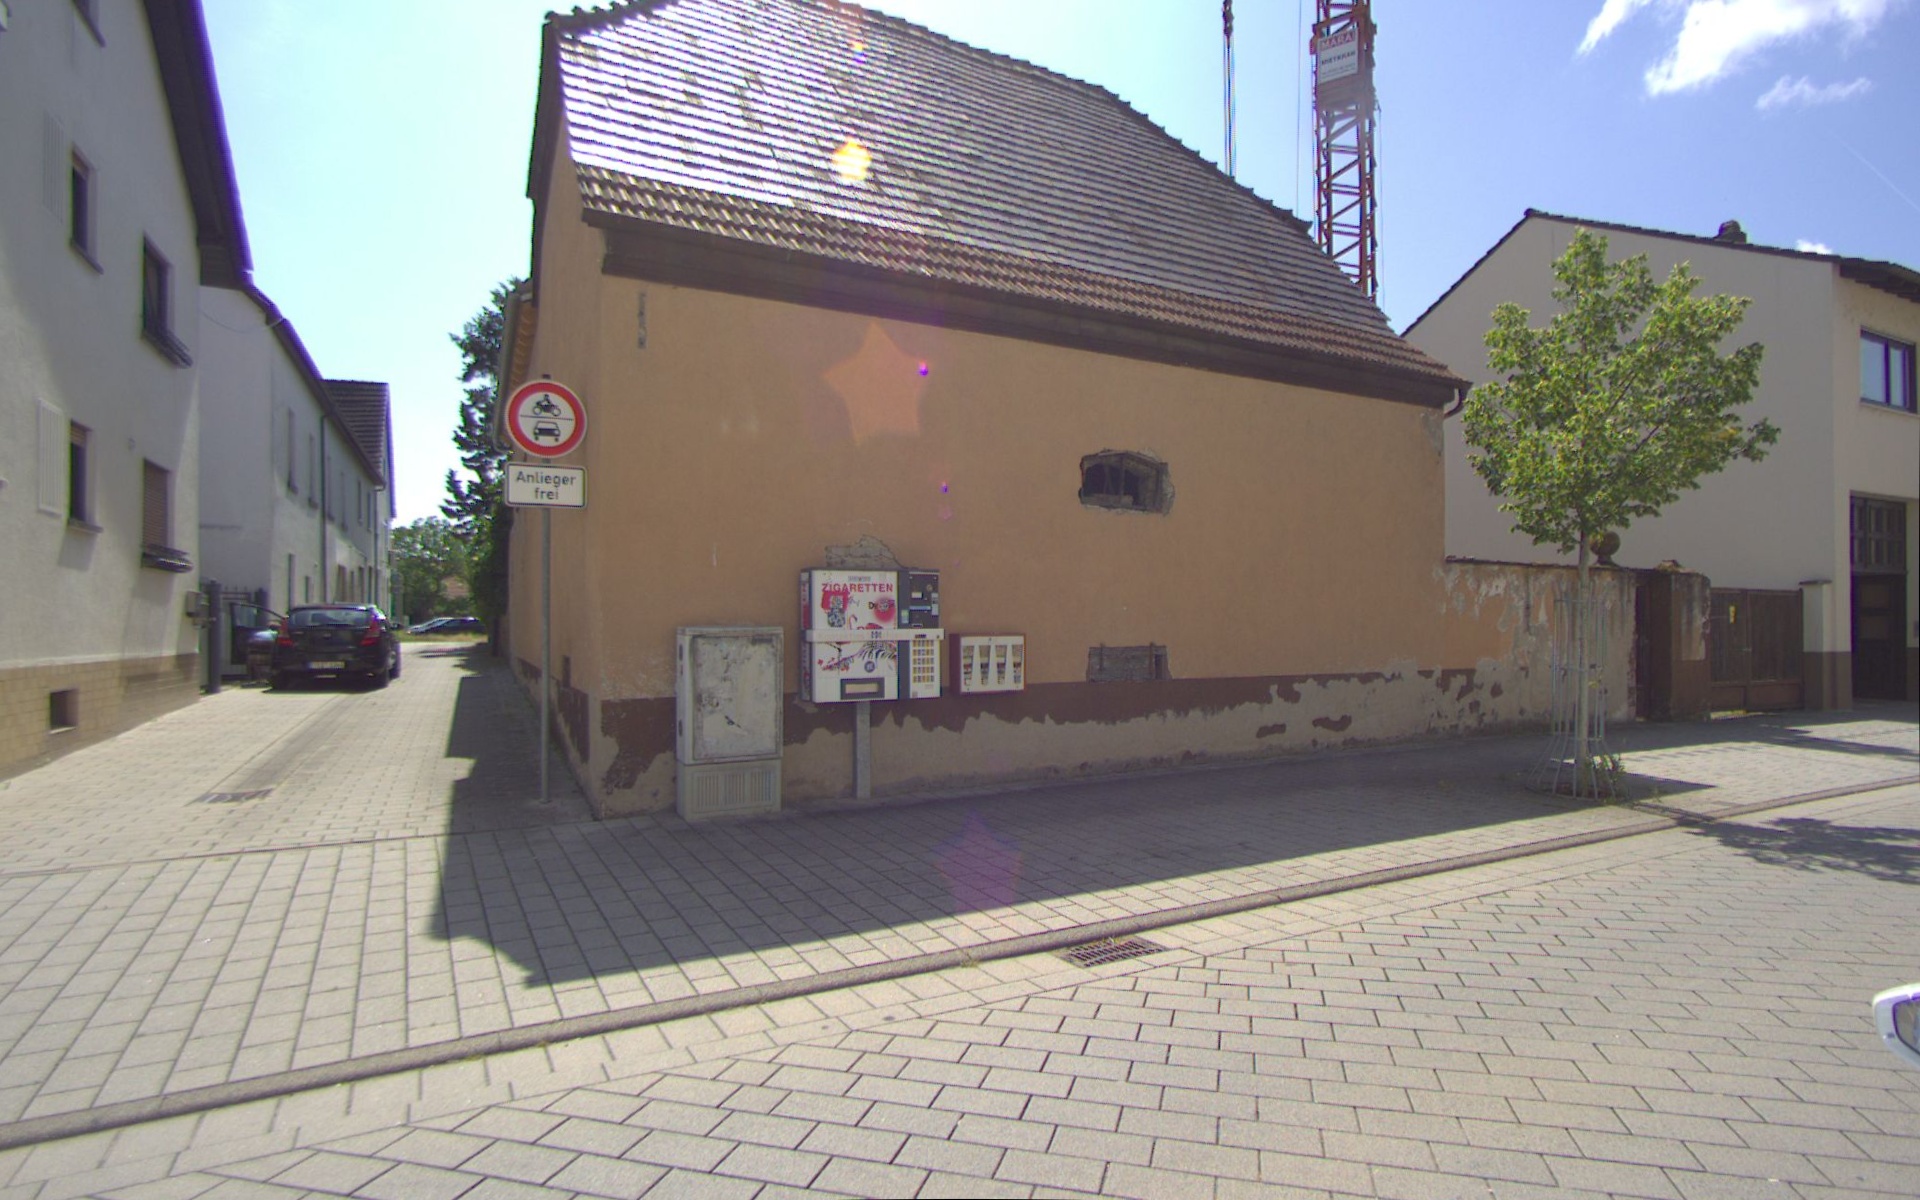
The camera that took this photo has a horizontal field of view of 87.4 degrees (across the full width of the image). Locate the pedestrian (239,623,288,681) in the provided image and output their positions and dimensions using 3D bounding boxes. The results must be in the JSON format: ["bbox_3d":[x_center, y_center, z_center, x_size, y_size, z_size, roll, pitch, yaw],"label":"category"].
[{"bbox_3d":[-12.689,0.936,18.317,0.623,1.021,0.812,1,0,-27],"label":"pedestrian"}]

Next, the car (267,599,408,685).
[{"bbox_3d":[-11.600,0.741,18.960,1.821,1.437,3.974,0,-1,-26],"label":"car"}]

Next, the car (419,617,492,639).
[{"bbox_3d":[-30.974,1.718,61.763,3.947,1.261,1.987,1,0,-26],"label":"car"}]
